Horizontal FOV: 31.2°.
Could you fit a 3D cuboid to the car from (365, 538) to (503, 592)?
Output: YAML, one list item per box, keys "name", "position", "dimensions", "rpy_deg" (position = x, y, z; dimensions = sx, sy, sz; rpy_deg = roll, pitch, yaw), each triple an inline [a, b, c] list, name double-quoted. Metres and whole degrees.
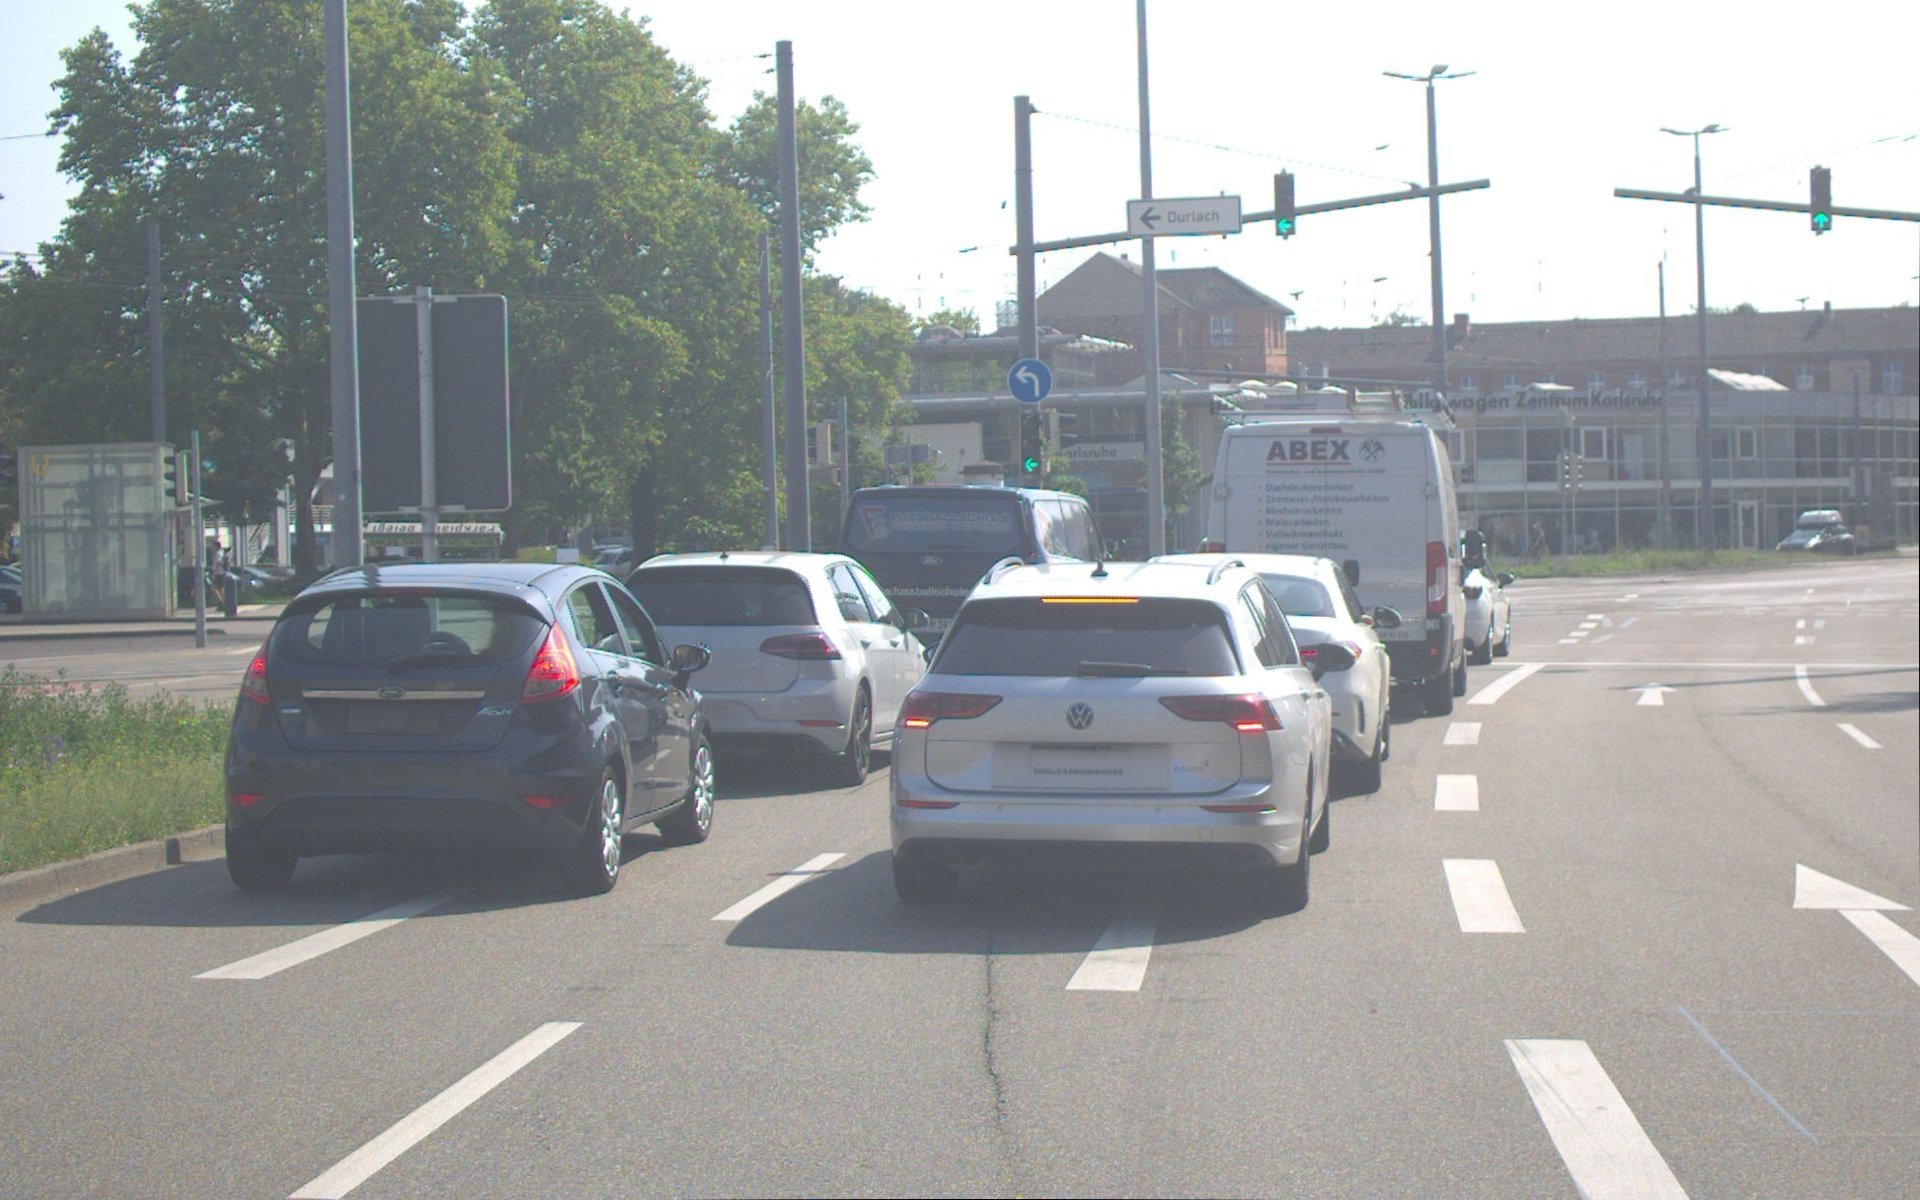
- name: "car"
  position: [-16.375, -1.100, 107.190]
  dimensions: [3.987, 1.612, 1.813]
  rpy_deg: [-1, 1, 0]

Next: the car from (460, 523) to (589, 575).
- name: "car"
  position: [-13.857, -1.631, 109.578]
  dimensions: [3.986, 1.552, 1.728]
  rpy_deg: [-1, 1, -5]

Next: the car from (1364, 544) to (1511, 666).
- name: "car"
  position: [5.881, 0.034, 42.077]
  dimensions: [1.638, 1.398, 3.686]
  rpy_deg: [0, 1, 10]

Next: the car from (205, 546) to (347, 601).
- name: "car"
  position: [-20.459, -0.792, 102.978]
  dimensions: [3.986, 1.552, 1.728]
  rpy_deg: [-1, 1, -5]

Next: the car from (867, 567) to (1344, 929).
- name: "car"
  position: [0.753, 0.556, 15.087]
  dimensions: [1.685, 1.383, 3.633]
  rpy_deg: [0, 0, 9]

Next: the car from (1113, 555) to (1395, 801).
- name: "car"
  position: [1.924, 0.429, 21.647]
  dimensions: [1.489, 1.398, 3.941]
  rpy_deg: [0, 0, 9]

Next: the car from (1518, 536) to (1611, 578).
- name: "car"
  position: [22.425, -1.605, 127.431]
  dimensions: [1.997, 1.437, 3.993]
  rpy_deg: [-1, 1, 32]

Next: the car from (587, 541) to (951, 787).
- name: "car"
  position: [-1.149, 0.355, 22.291]
  dimensions: [1.490, 1.410, 3.646]
  rpy_deg: [-1, 2, 11]

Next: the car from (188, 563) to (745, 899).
- name: "car"
  position: [-2.170, 0.525, 16.196]
  dimensions: [1.701, 1.363, 3.963]
  rpy_deg: [0, 1, 5]

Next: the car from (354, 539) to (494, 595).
- name: "car"
  position: [-16.390, -1.009, 105.186]
  dimensions: [3.987, 1.612, 1.813]
  rpy_deg: [-1, 1, 0]

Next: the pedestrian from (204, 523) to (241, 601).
- name: "pedestrian"
  position: [-19.317, -0.997, 90.065]
  dimensions: [0.822, 2.007, 0.509]
  rpy_deg: [-1, 1, -2]

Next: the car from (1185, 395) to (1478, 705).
- name: "car"
  position: [3.404, -0.426, 30.680]
  dimensions: [2.189, 2.540, 4.681]
  rpy_deg: [0, 0, 11]

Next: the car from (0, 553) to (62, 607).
- name: "car"
  position: [-28.947, -0.582, 102.339]
  dimensions: [3.986, 1.552, 1.869]
  rpy_deg: [-1, 1, -5]

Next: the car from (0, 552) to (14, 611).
- name: "car"
  position: [-28.466, -0.482, 95.338]
  dimensions: [3.986, 1.552, 1.870]
  rpy_deg: [-1, 3, -4]

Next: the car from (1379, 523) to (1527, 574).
- name: "car"
  position: [13.955, -1.473, 97.485]
  dimensions: [3.966, 1.337, 1.930]
  rpy_deg: [-1, 1, 3]

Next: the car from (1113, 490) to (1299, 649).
- name: "car"
  position: [3.360, -0.426, 46.139]
  dimensions: [2.024, 2.001, 4.682]
  rpy_deg: [0, 1, 10]

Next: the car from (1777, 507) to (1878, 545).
- name: "car"
  position: [34.148, -2.915, 135.292]
  dimensions: [3.989, 1.437, 1.999]
  rpy_deg: [-2, 2, -43]

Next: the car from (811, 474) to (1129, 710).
- name: "car"
  position: [0.188, -0.104, 31.736]
  dimensions: [2.024, 2.001, 4.681]
  rpy_deg: [0, 1, 12]
